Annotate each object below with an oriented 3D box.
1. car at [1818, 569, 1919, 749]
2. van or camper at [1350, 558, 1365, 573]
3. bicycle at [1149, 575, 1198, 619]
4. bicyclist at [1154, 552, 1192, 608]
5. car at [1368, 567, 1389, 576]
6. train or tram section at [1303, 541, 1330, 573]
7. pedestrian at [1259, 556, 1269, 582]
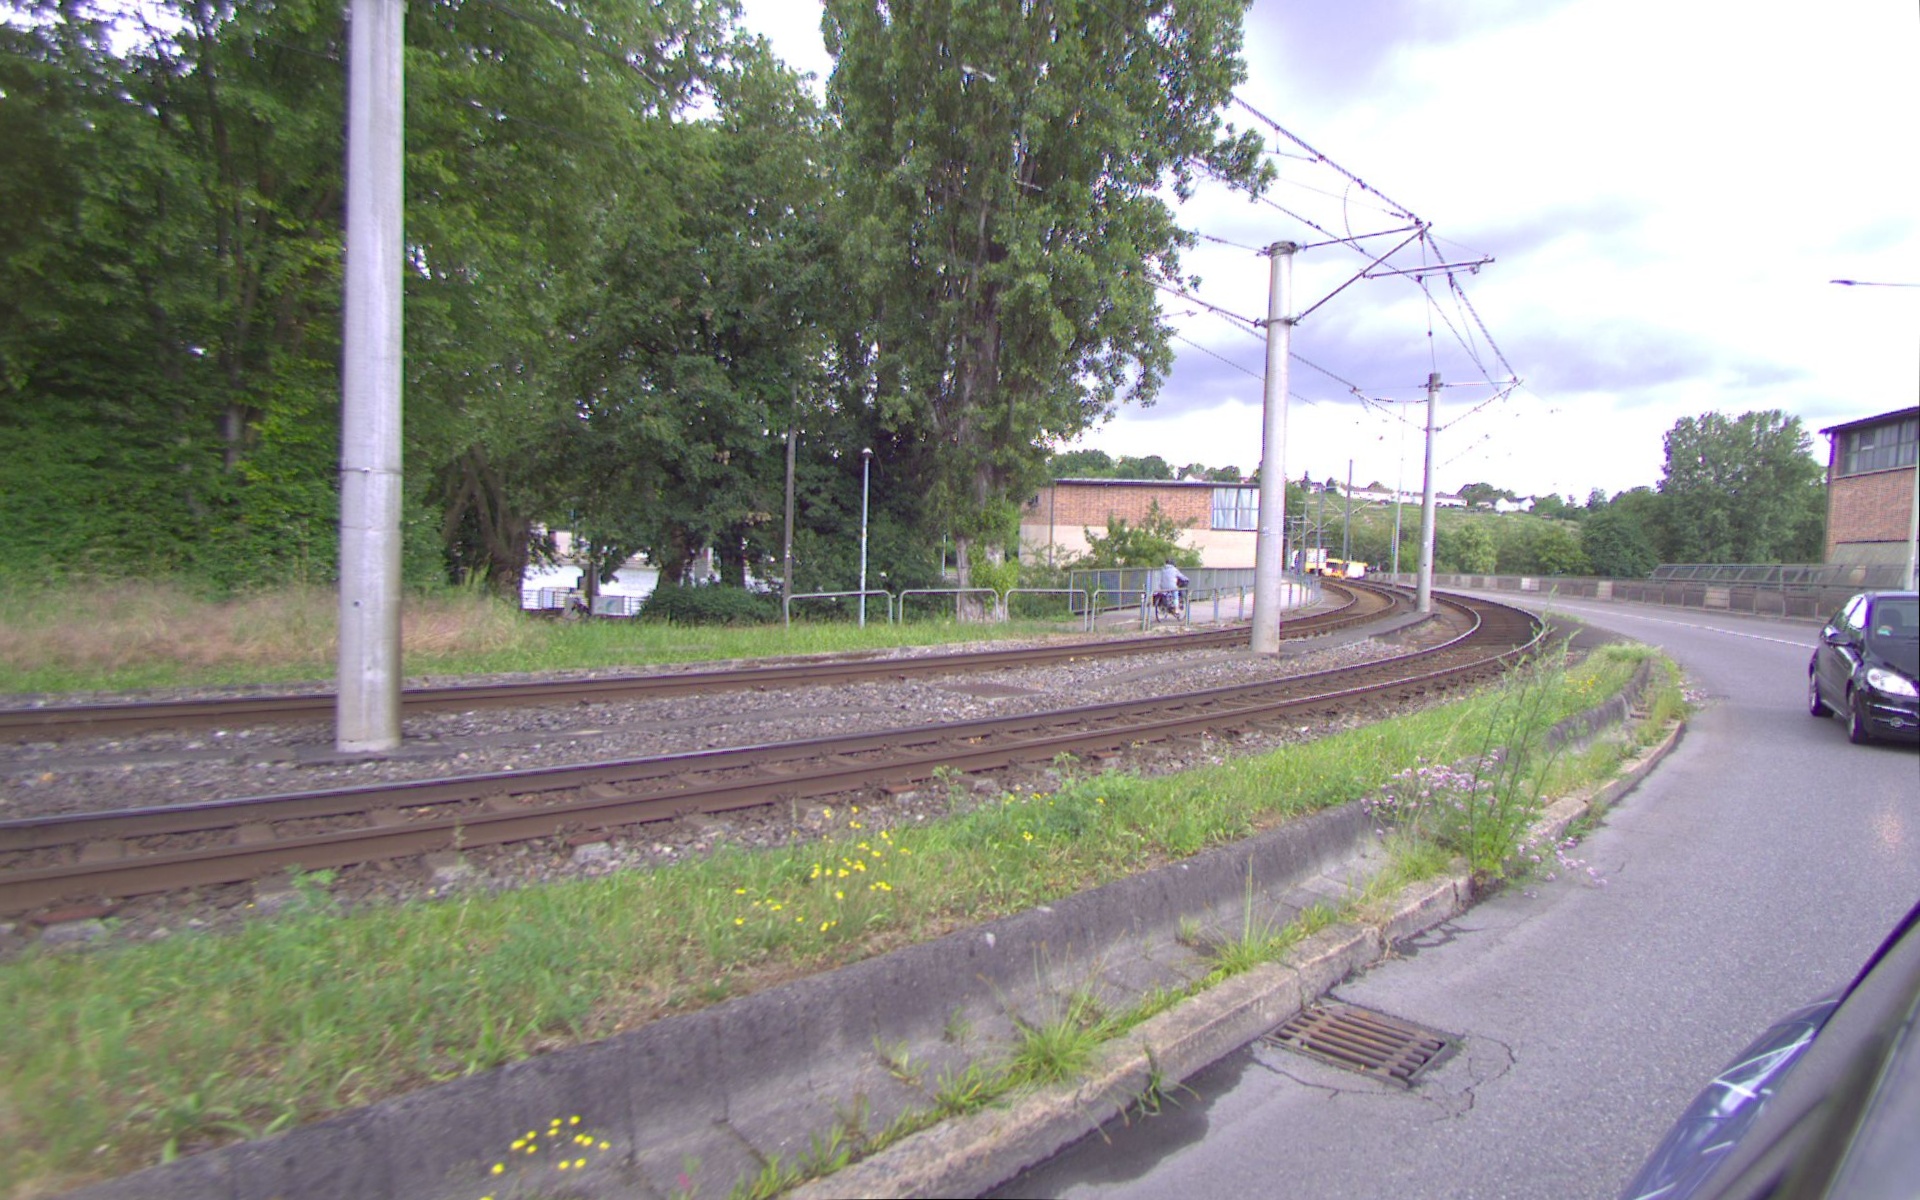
[{"bbox_3d":[10.545,0.532,10.679,1.851,1.641,3.950,3,3,35],"label":"car"},{"bbox_3d":[66.397,-5.772,168.898,2.134,2.506,4.674,2,2,23],"label":"van or camper"},{"bbox_3d":[5.433,-0.093,25.671,0.424,1.063,2.053,1,1,36],"label":"bicycle"},{"bbox_3d":[5.375,-0.505,25.519,0.592,1.377,0.899,1,1,36],"label":"bicyclist"},{"bbox_3d":[77.391,-5.224,187.243,3.931,1.593,1.998,-3,4,-41],"label":"car"},{"bbox_3d":[46.749,-5.600,132.854,2.993,3.966,9.391,2,3,18],"label":"train or tram section"},{"bbox_3d":[19.944,-2.033,66.411,0.503,1.685,0.351,2,2,12],"label":"pedestrian"}]
